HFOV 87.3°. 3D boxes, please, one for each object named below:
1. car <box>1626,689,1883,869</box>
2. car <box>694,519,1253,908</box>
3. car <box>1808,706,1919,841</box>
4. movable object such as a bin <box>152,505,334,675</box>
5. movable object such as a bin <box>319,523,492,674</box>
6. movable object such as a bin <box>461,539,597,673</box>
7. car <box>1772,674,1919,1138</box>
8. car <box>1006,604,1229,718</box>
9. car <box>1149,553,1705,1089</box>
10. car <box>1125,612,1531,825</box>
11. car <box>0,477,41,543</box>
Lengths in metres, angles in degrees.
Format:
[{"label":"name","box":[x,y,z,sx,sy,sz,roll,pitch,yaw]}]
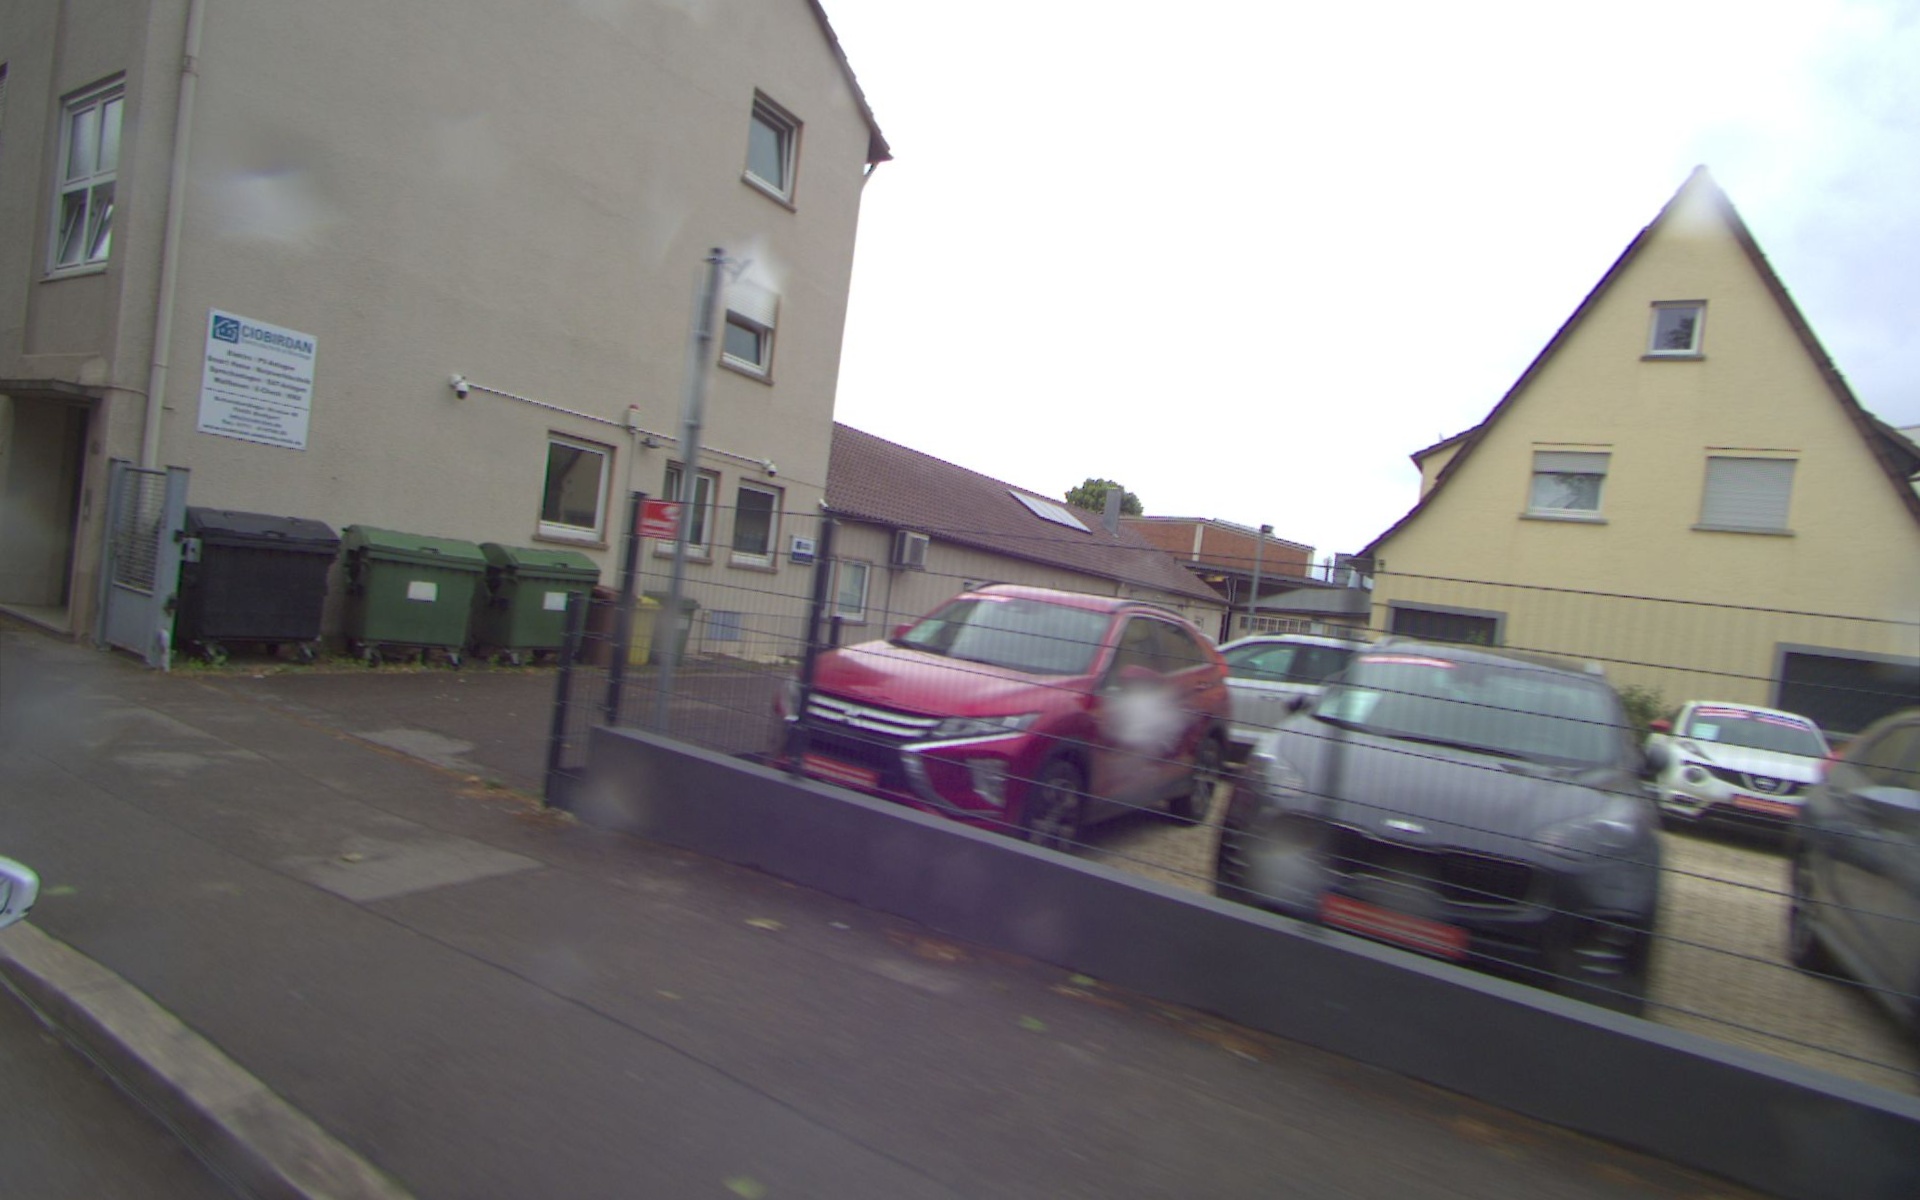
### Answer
[{"label":"car","box":[9.265,2.013,12.064,1.729,1.549,3.773,7,-2,30]},{"label":"car","box":[0.462,0.709,6.988,1.839,1.756,4.237,6,-3,31]},{"label":"car","box":[12.440,2.223,12.596,1.966,1.485,3.997,6,-3,30]},{"label":"movable object such as a bin","box":[-7.068,-0.088,9.941,0.970,1.529,1.111,6,1,31]},{"label":"movable object such as a bin","box":[-6.180,-0.011,11.248,1.092,1.529,1.234,6,1,31]},{"label":"movable object such as a bin","box":[-5.375,0.081,12.569,0.993,1.529,1.111,6,1,31]},{"label":"car","box":[4.988,1.313,4.176,1.839,1.756,4.075,6,-3,31]},{"label":"car","box":[2.959,1.155,18.445,3.974,1.611,1.801,9,-3,-41]},{"label":"car","box":[2.794,0.957,5.772,1.839,1.756,4.237,6,-3,31]},{"label":"car","box":[3.800,1.137,10.459,3.567,1.548,1.812,5,-2,31]},{"label":"car","box":[-36.432,-3.621,35.376,1.966,2.235,5.582,7,-3,30]}]
